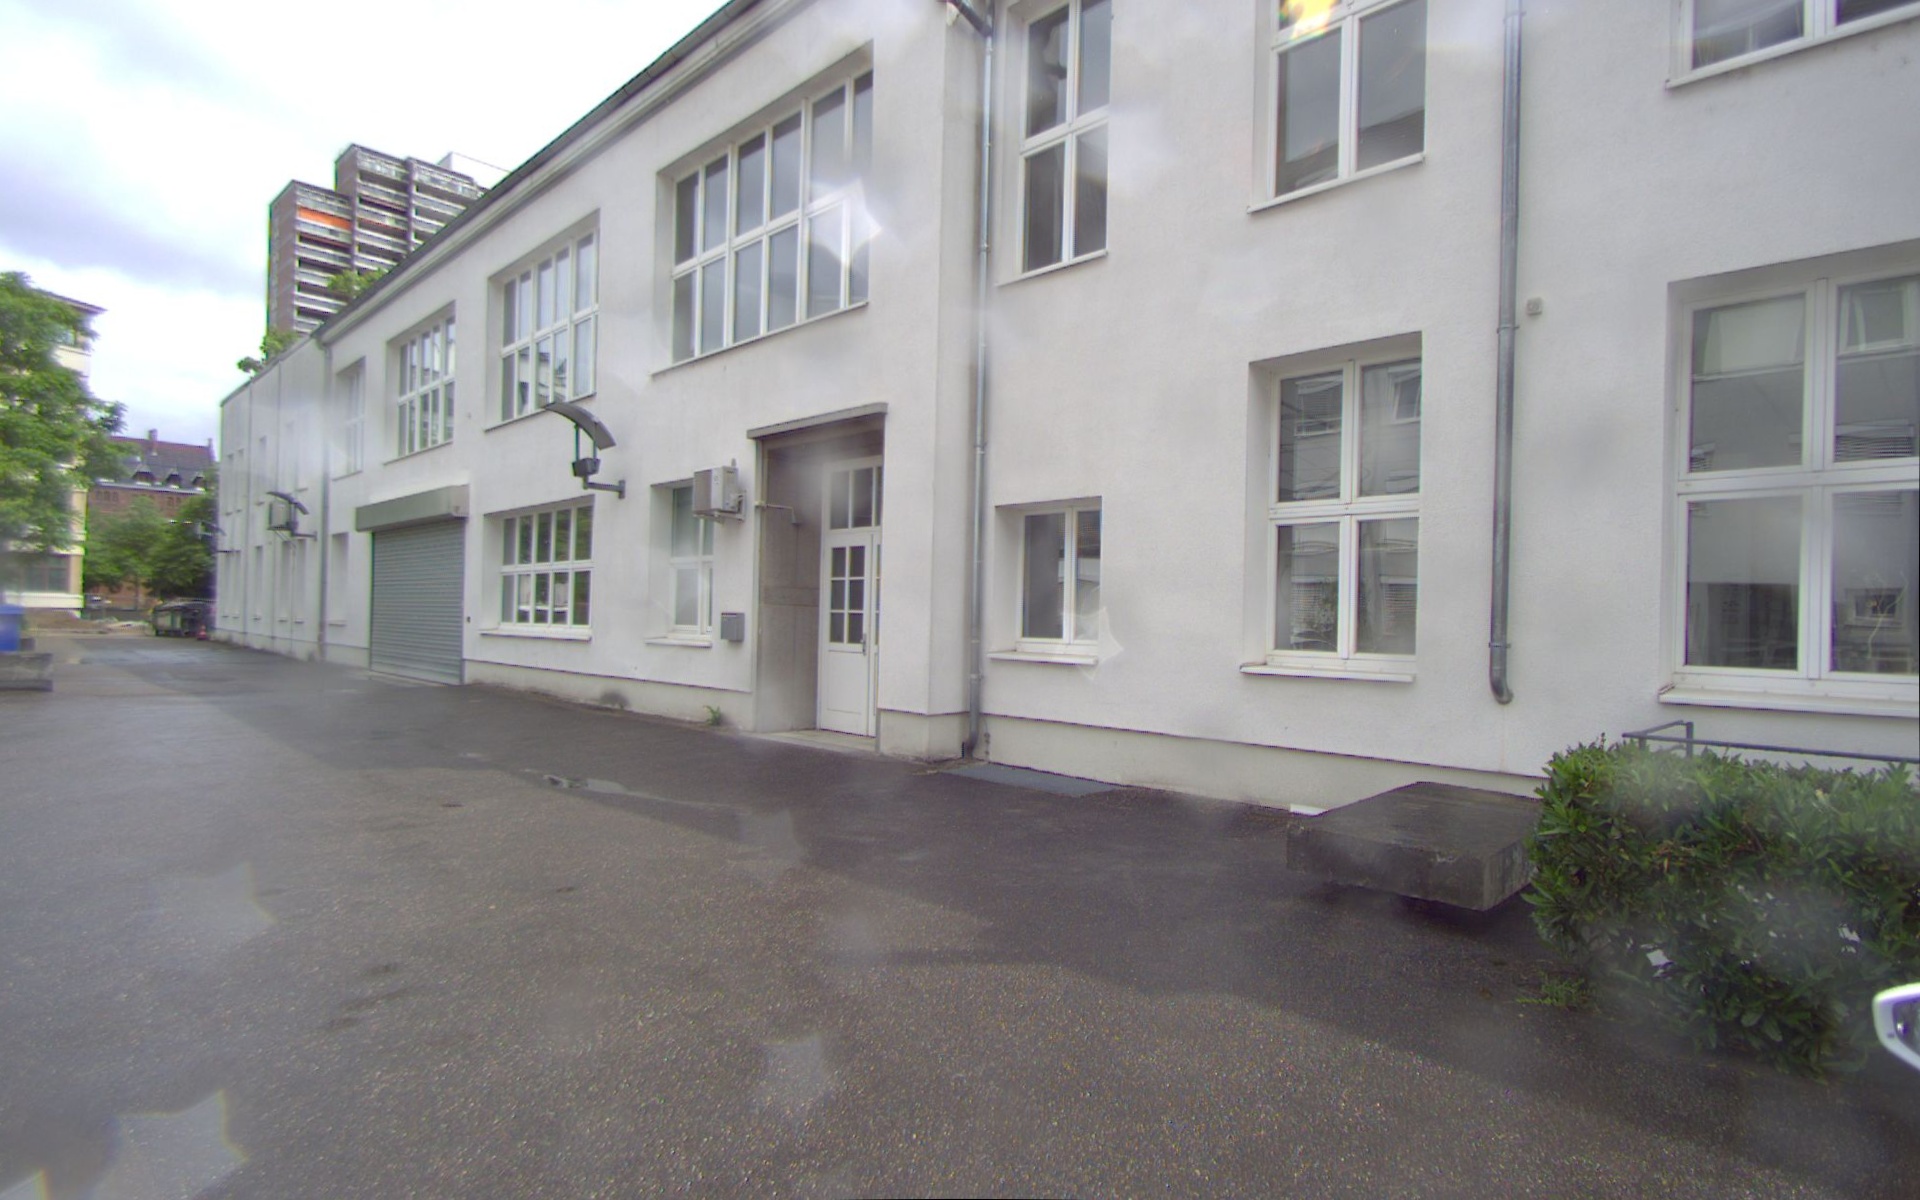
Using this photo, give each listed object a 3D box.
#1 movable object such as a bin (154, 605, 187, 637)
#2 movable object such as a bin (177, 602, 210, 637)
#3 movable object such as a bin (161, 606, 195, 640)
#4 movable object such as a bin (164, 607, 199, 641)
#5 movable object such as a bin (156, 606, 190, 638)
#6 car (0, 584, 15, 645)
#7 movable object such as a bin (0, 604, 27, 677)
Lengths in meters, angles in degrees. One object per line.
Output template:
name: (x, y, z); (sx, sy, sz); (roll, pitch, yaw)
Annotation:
movable object such as a bin: (-35.159, 0.938, 44.735); (1.058, 1.374, 1.249); (1, 0, -42)
movable object such as a bin: (-30.909, 0.776, 40.507); (0.971, 1.374, 0.908); (1, 0, -42)
movable object such as a bin: (-33.172, 0.972, 42.604); (1.055, 1.374, 1.203); (1, 0, -42)
movable object such as a bin: (-32.329, 0.986, 41.715); (1.038, 1.374, 1.193); (1, 0, -42)
movable object such as a bin: (-34.258, 0.953, 43.723); (1.058, 1.374, 1.249); (1, 0, -42)
car: (-29.965, 0.371, 28.623); (4.300, 1.750, 1.702); (2, 0, -41)
movable object such as a bin: (-18.349, 0.745, 18.890); (1.123, 1.346, 1.193); (1, 0, -42)
